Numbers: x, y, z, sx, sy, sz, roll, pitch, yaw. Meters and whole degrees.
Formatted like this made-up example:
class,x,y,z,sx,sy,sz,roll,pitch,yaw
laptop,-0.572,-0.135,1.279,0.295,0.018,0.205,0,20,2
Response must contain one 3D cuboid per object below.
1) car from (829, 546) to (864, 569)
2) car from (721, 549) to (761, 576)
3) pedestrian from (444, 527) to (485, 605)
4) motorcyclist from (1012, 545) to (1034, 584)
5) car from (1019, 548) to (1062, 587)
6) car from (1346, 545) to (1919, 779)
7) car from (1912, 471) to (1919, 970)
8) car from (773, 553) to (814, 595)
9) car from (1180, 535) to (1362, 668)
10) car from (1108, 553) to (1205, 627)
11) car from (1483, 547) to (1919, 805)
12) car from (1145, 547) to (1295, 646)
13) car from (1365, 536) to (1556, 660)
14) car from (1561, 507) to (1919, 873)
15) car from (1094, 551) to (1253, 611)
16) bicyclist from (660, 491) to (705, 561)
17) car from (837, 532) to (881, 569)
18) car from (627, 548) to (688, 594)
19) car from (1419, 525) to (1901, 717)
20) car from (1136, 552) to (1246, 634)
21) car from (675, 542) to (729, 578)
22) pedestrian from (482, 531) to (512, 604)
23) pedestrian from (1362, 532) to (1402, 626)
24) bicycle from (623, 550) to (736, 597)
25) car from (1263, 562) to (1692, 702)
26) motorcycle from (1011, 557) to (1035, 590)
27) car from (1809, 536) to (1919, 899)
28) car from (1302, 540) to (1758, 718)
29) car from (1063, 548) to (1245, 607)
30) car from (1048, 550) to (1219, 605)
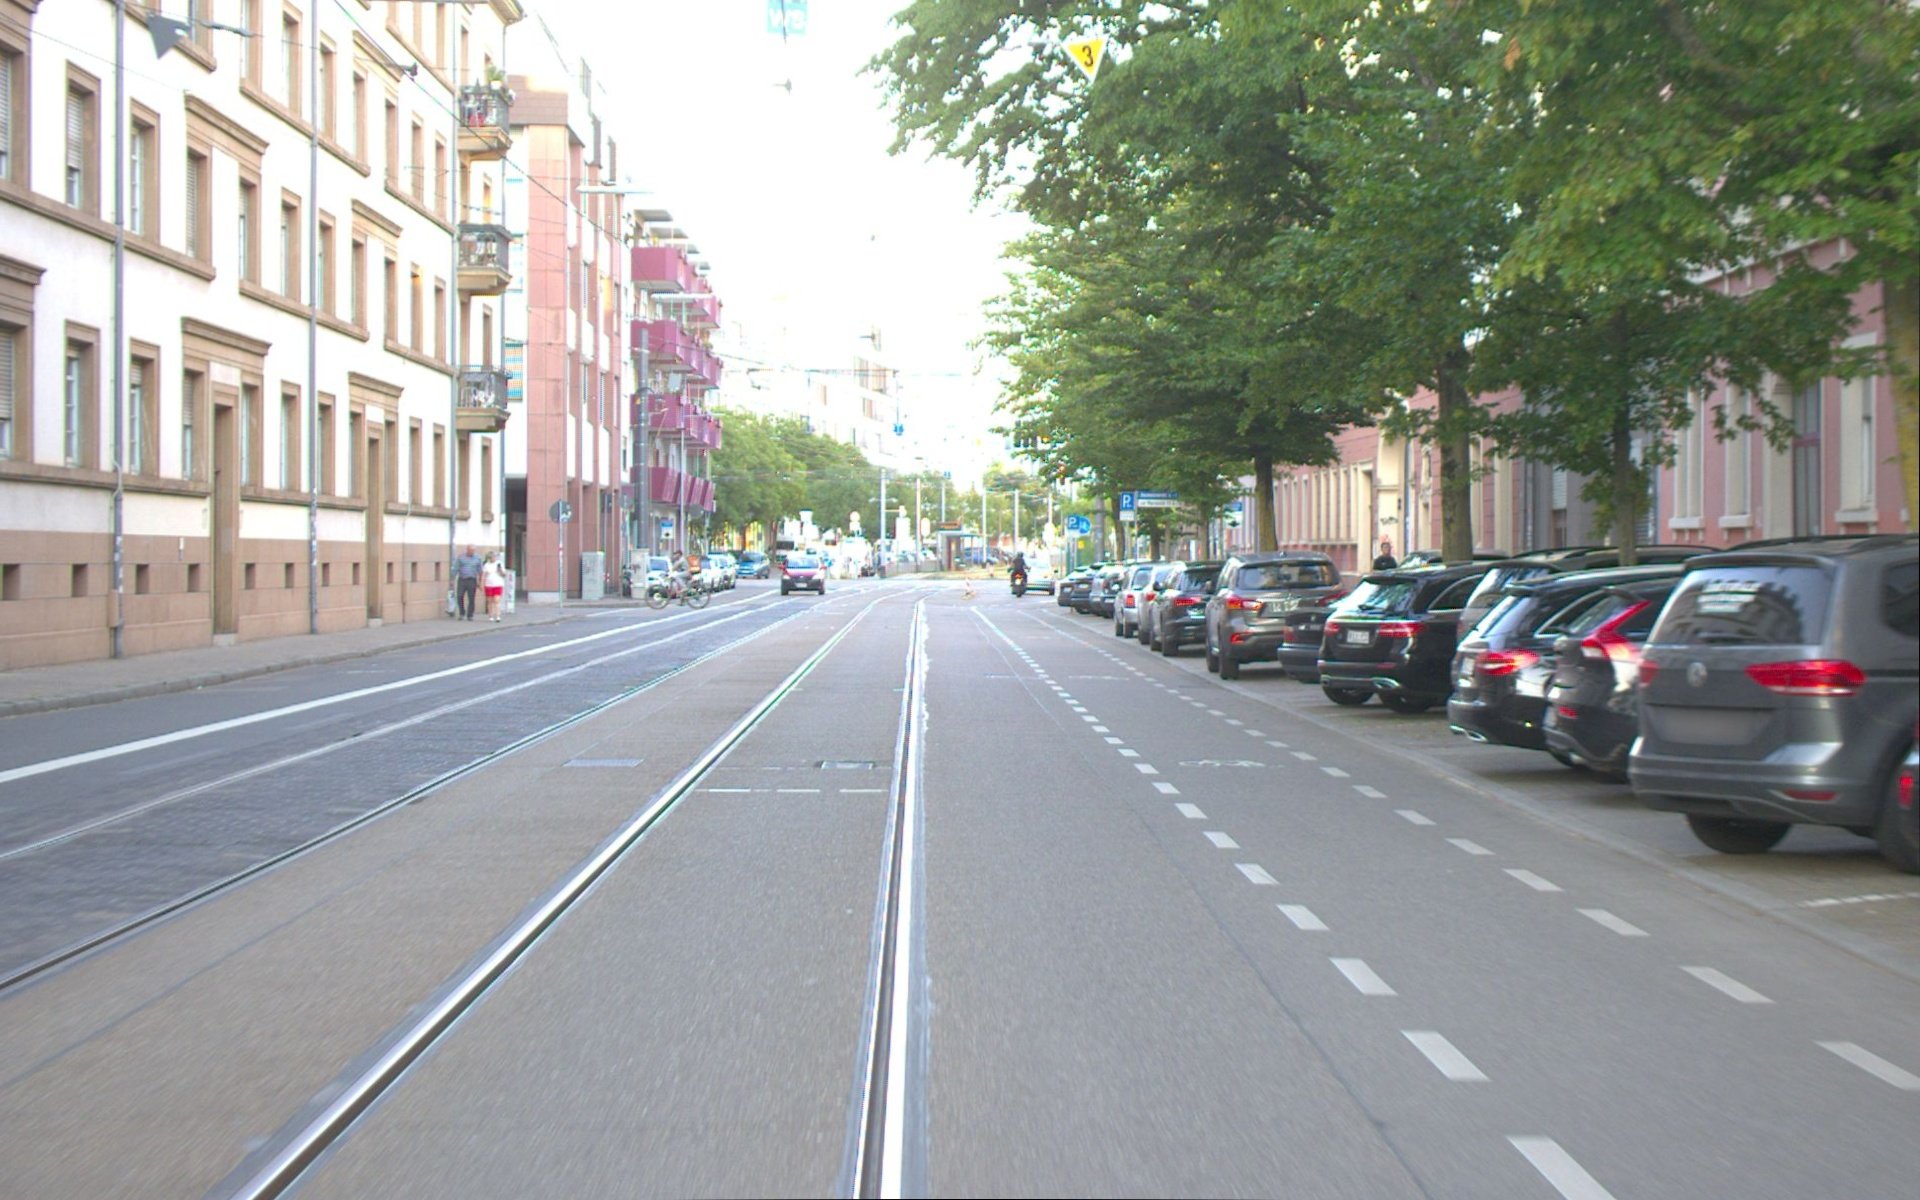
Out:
class,x,y,z,sx,sy,sz,roll,pitch,yaw
car,-7.435,-2.784,224.694,1.683,1.434,4.125,0,1,7
car,-13.871,-2.362,218.392,1.683,1.694,4.238,0,1,8
pedestrian,-10.955,-0.753,76.001,0.795,1.696,0.981,0,1,-3
motorcyclist,2.437,-1.378,132.836,0.828,1.468,1.207,0,1,3
car,3.321,-1.362,142.682,1.717,1.550,4.204,1,1,1
car,5.053,0.383,23.920,4.376,1.459,1.720,-1,1,-18
car,5.651,0.402,12.350,3.986,1.809,1.825,-2,2,-21
car,-6.457,-1.024,133.546,1.559,1.553,3.755,-1,1,-2
car,4.055,-0.014,45.446,1.879,1.612,4.262,-2,1,-1
car,3.837,-0.211,67.580,1.619,1.376,3.776,-2,1,-1
car,5.488,0.420,21.622,3.986,1.459,1.720,-1,1,-18
car,4.082,-0.084,54.766,1.993,1.484,5.036,-1,1,0
car,6.577,-0.055,45.553,1.879,1.578,4.021,0,1,-1
car,5.376,0.365,17.554,4.177,1.690,1.847,-1,1,-21
car,5.284,-0.484,85.231,3.554,1.424,1.669,-1,1,-25
bicyclist,-7.976,-2.122,98.765,1.214,2.007,0.947,1,1,-9
car,-6.748,-3.331,230.452,2.461,2.474,5.808,0,1,3
car,-10.712,-1.042,121.927,1.717,1.550,4.204,2,1,0
car,6.350,0.152,31.205,3.986,1.588,1.720,-1,2,-21
car,4.145,-0.153,62.168,1.780,1.376,4.691,-2,1,2
car,-10.636,-1.642,142.025,1.691,1.409,4.677,2,1,2
pedestrian,-10.226,-0.712,75.892,0.590,1.604,0.811,0,1,-3
pedestrian,8.146,-0.404,66.337,0.680,1.810,0.600,0,1,0
bicycle,-8.057,-0.760,98.775,3.170,1.349,0.958,0,1,-9
car,5.413,0.310,35.863,4.248,1.383,1.621,0,1,-26
motorcycle,2.427,-1.035,132.781,0.828,1.236,2.491,0,1,3
car,6.005,0.486,15.460,3.986,1.561,1.720,-1,1,-22
car,5.451,0.240,32.947,3.960,1.548,1.720,-1,2,-18
car,5.241,-0.623,93.072,4.443,1.511,2.064,-1,1,-23
car,4.997,-0.650,99.030,4.604,1.452,1.711,-2,1,-25
